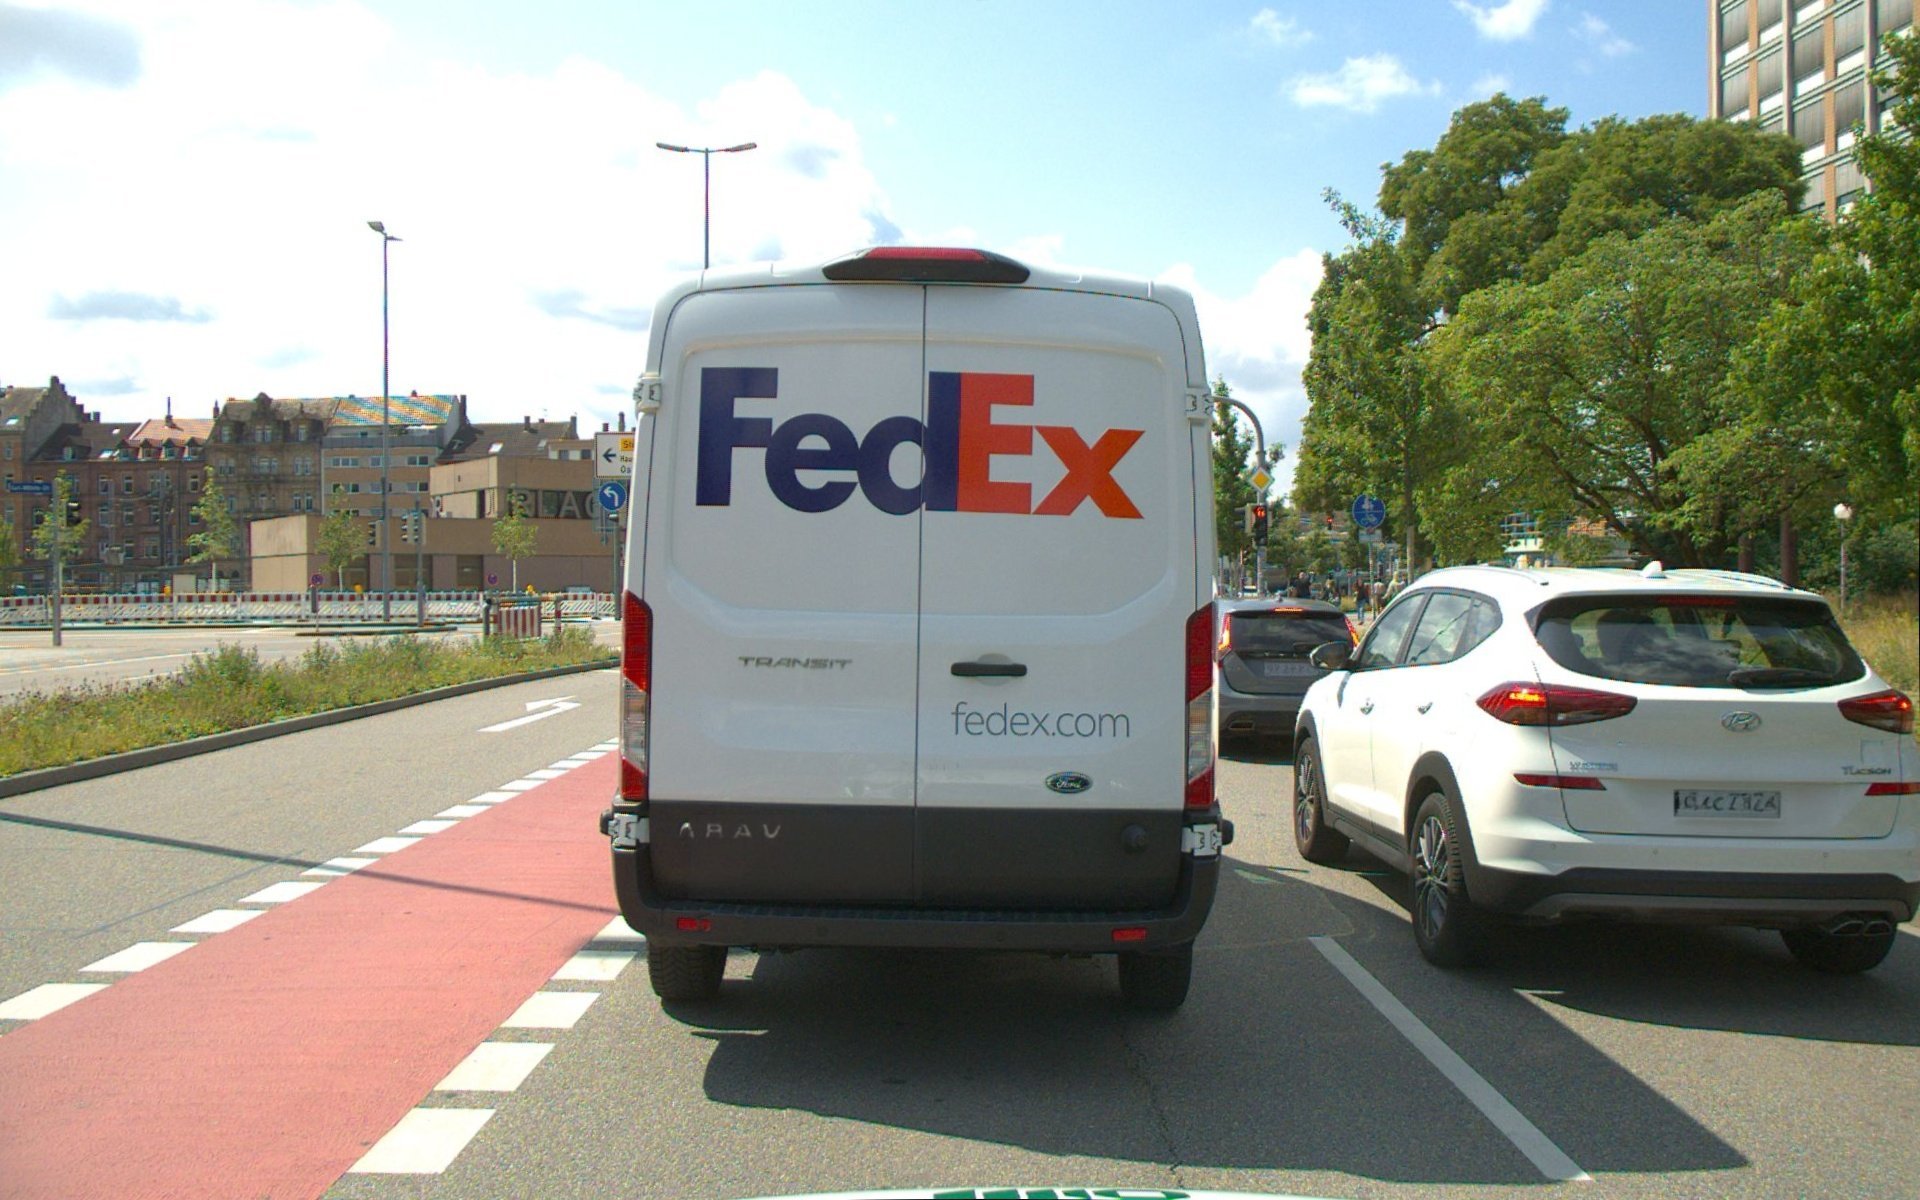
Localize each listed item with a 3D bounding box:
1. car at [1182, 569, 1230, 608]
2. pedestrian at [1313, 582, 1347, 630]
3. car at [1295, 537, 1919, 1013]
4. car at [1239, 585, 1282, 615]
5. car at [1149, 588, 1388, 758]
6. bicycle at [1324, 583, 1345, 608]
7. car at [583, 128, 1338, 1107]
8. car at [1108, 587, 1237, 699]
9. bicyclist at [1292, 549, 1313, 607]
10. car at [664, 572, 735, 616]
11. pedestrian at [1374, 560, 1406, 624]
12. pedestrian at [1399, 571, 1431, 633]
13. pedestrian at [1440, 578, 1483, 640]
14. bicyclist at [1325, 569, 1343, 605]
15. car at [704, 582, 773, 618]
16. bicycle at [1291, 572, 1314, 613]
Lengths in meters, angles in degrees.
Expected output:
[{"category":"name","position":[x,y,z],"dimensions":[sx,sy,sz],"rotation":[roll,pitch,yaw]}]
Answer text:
[{"category":"car","position":[13.291,-0.589,89.180],"dimensions":[2.048,2.049,4.647],"rotation":[0,0,15]},{"category":"pedestrian","position":[11.017,0.162,49.221],"dimensions":[0.827,1.413,0.741],"rotation":[0,0,-1]},{"category":"car","position":[2.861,0.610,7.967],"dimensions":[1.760,1.717,4.001],"rotation":[0,1,1]},{"category":"car","position":[18.845,-0.010,103.637],"dimensions":[1.952,1.825,4.373],"rotation":[-1,0,19]},{"category":"car","position":[2.967,0.639,16.635],"dimensions":[1.760,1.486,3.839],"rotation":[0,1,1]},{"category":"bicycle","position":[15.619,-0.199,68.983],"dimensions":[0.534,1.048,1.927],"rotation":[0,1,2]},{"category":"car","position":[-0.121,0.041,7.468],"dimensions":[2.098,2.699,5.701],"rotation":[0,0,-3]},{"category":"car","position":[2.934,0.549,23.364],"dimensions":[1.454,1.453,3.433],"rotation":[0,1,1]},{"category":"bicyclist","position":[11.189,-0.719,53.976],"dimensions":[0.579,1.877,1.123],"rotation":[0,1,16]},{"category":"car","position":[-12.292,-0.268,78.377],"dimensions":[1.951,2.049,4.003],"rotation":[0,0,13]},{"category":"pedestrian","position":[14.155,-0.261,54.443],"dimensions":[0.828,2.094,0.740],"rotation":[0,0,-2]},{"category":"pedestrian","position":[15.093,0.065,54.870],"dimensions":[0.827,2.049,0.741],"rotation":[0,0,-1]},{"category":"pedestrian","position":[12.842,0.215,42.387],"dimensions":[0.827,1.565,0.835],"rotation":[0,0,-1]},{"category":"bicyclist","position":[15.609,-0.549,68.966],"dimensions":[0.538,1.500,0.971],"rotation":[0,0,0]},{"category":"car","position":[-10.295,0.006,77.022],"dimensions":[1.860,1.613,4.003],"rotation":[0,0,13]},{"category":"bicycle","position":[11.194,-0.251,54.010],"dimensions":[0.589,1.312,2.072],"rotation":[0,1,16]}]
